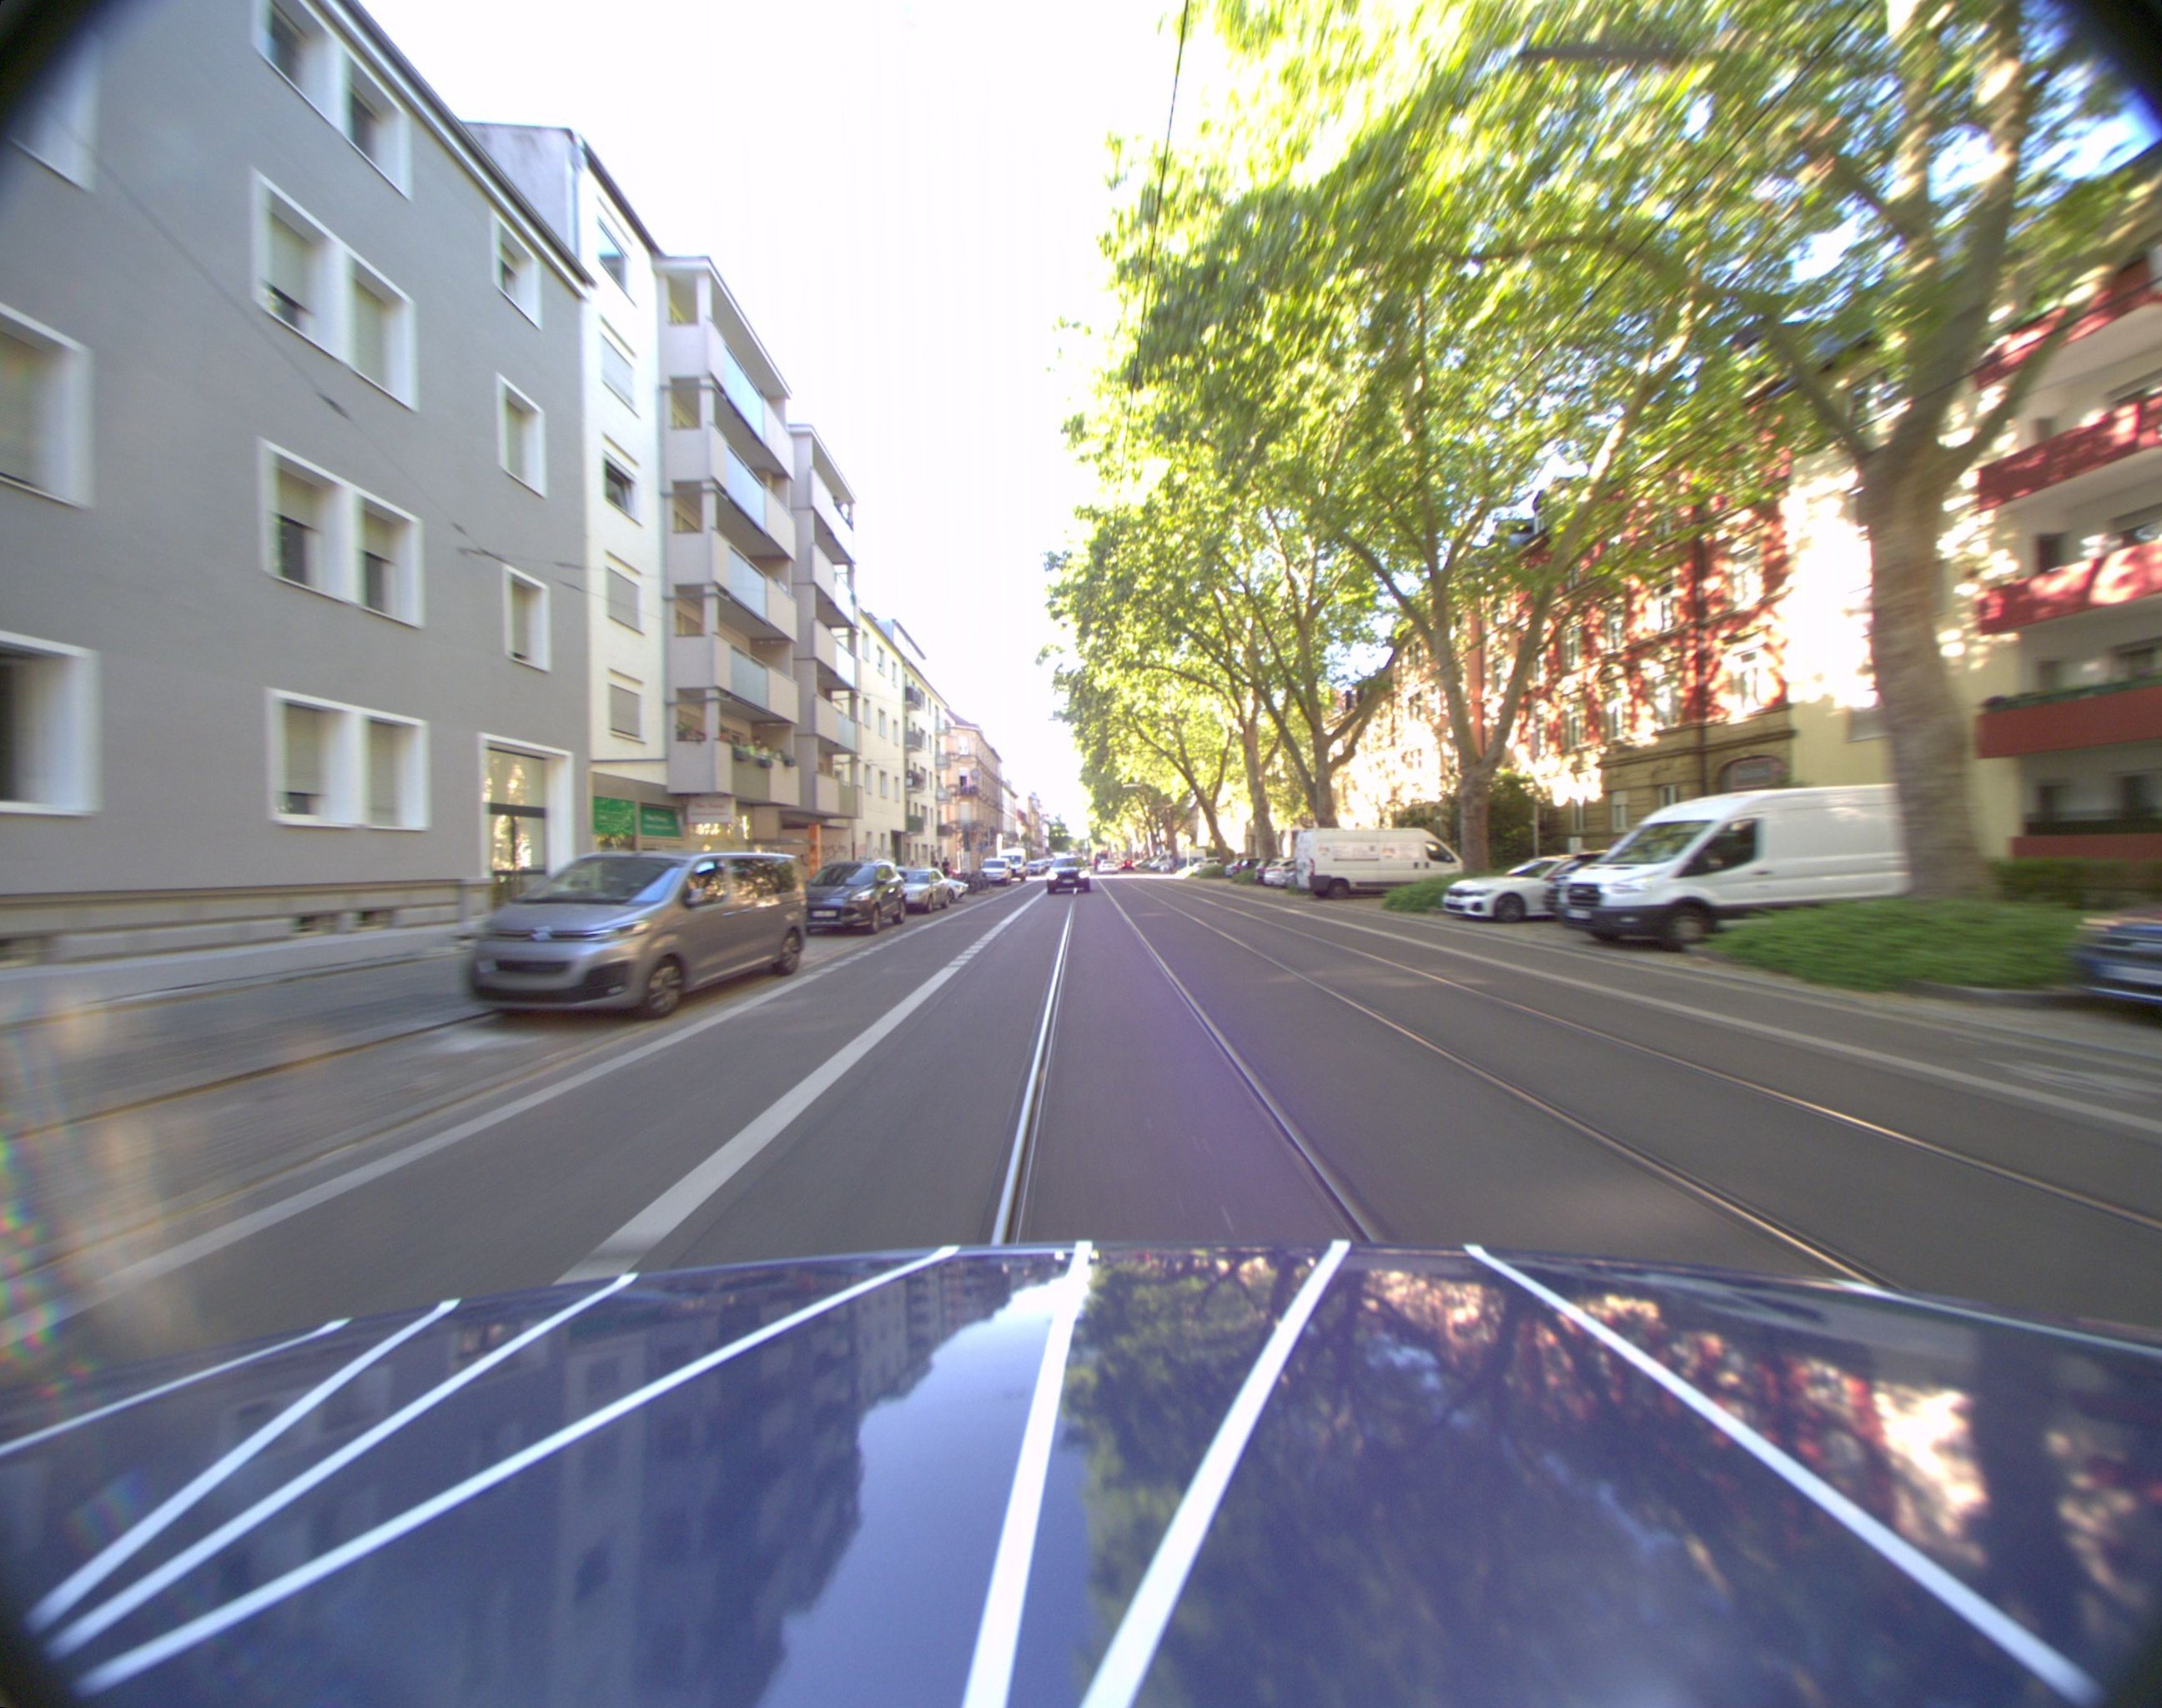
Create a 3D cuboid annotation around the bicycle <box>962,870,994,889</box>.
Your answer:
[{"bbox_3d":[-5.650,1.391,41.593,1.657,1.049,0.457,1,1,0],"label":"bicycle"}]

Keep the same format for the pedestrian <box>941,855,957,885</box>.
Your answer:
[{"bbox_3d":[-8.097,0.958,46.664,0.711,1.812,1.082,0,1,2],"label":"pedestrian"}]

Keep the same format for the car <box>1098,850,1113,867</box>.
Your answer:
[{"bbox_3d":[3.318,0.634,104.946,1.922,2.213,4.962,0,-2,0],"label":"car"}]

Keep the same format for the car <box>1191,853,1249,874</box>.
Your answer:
[{"bbox_3d":[10.523,0.712,57.612,3.997,1.452,1.879,-1,0,0],"label":"car"}]

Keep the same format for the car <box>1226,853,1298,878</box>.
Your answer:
[{"bbox_3d":[11.392,0.684,47.986,4.000,1.452,1.769,-1,0,-9],"label":"car"}]

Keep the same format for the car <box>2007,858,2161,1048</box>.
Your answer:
[{"bbox_3d":[10.558,0.752,6.048,4.029,1.457,1.872,-2,0,1],"label":"car"}]

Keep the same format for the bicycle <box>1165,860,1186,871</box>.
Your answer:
[{"bbox_3d":[9.049,1.099,72.857,1.877,1.025,0.628,-1,0,-10],"label":"bicycle"}]

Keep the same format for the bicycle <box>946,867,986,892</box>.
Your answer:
[{"bbox_3d":[-5.682,1.260,37.607,1.897,1.184,0.457,1,1,0],"label":"bicycle"}]

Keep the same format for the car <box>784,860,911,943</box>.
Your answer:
[{"bbox_3d":[-5.452,1.026,18.329,1.771,1.695,4.282,-1,0,-1],"label":"car"}]

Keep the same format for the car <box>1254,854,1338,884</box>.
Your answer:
[{"bbox_3d":[10.918,0.743,38.756,3.802,1.452,1.704,-1,0,1],"label":"car"}]

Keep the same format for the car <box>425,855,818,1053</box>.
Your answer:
[{"bbox_3d":[-5.326,0.979,9.847,1.863,1.879,4.925,-1,0,3],"label":"car"}]

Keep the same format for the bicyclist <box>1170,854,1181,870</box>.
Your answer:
[{"bbox_3d":[9.060,0.780,72.865,0.869,1.517,0.736,-1,0,-11],"label":"bicyclist"}]

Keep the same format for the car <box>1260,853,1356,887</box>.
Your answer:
[{"bbox_3d":[10.791,0.756,36.289,3.997,1.487,1.830,-1,0,1],"label":"car"}]

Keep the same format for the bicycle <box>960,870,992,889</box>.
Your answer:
[{"bbox_3d":[-5.686,1.361,41.065,1.657,0.981,0.457,1,1,0],"label":"bicycle"}]

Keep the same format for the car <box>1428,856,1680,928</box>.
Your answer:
[{"bbox_3d":[10.453,0.807,17.049,4.421,1.376,1.933,-2,0,0],"label":"car"}]

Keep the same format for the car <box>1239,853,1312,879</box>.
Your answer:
[{"bbox_3d":[11.598,0.708,45.492,3.996,1.452,1.704,-1,0,2],"label":"car"}]

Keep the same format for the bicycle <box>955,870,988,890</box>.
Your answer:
[{"bbox_3d":[-5.633,1.334,39.070,1.657,1.015,0.457,1,1,0],"label":"bicycle"}]

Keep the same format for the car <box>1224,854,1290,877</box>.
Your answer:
[{"bbox_3d":[11.735,0.747,50.736,3.999,1.361,1.604,-1,0,-5],"label":"car"}]

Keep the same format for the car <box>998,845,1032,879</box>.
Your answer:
[{"bbox_3d":[-5.186,0.588,60.474,2.154,2.481,6.088,-2,0,0],"label":"car"}]

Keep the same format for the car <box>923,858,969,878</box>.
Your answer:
[{"bbox_3d":[-12.078,1.273,68.151,3.659,1.565,1.790,-3,1,2],"label":"car"}]

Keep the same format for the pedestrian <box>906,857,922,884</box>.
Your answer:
[{"bbox_3d":[-10.250,0.994,46.569,0.633,1.571,0.933,4,1,2],"label":"pedestrian"}]

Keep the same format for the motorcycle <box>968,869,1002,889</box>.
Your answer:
[{"bbox_3d":[-5.363,1.413,42.428,1.820,1.074,0.618,0,1,24],"label":"motorcycle"}]

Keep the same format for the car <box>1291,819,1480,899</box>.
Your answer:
[{"bbox_3d":[10.656,0.169,26.892,5.755,2.521,2.162,-2,0,1],"label":"car"}]

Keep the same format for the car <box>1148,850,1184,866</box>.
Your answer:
[{"bbox_3d":[11.494,0.483,103.166,4.637,1.896,1.923,-3,0,4],"label":"car"}]

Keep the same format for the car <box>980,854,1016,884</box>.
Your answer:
[{"bbox_3d":[-5.428,0.959,50.307,1.863,1.810,4.350,2,1,0],"label":"car"}]

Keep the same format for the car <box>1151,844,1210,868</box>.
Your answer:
[{"bbox_3d":[11.577,0.238,88.740,6.618,2.393,2.000,-3,0,1],"label":"car"}]

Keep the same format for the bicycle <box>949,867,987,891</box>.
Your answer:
[{"bbox_3d":[-5.680,1.256,38.087,1.828,1.184,0.457,1,1,0],"label":"bicycle"}]

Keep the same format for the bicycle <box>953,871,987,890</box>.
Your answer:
[{"bbox_3d":[-5.627,1.338,38.578,1.657,0.960,0.457,1,1,0],"label":"bicycle"}]

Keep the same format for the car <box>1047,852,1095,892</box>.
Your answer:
[{"bbox_3d":[-0.399,0.859,36.199,1.949,1.694,4.631,-2,-1,2],"label":"car"}]

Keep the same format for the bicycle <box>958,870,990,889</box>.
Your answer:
[{"bbox_3d":[-5.690,1.350,40.368,1.657,0.981,0.457,1,1,0],"label":"bicycle"}]

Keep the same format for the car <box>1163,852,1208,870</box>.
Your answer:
[{"bbox_3d":[10.896,0.737,79.509,4.331,1.702,1.816,-1,0,-3],"label":"car"}]

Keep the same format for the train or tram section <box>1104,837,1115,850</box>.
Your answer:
[{"bbox_3d":[8.454,-3.062,228.483,2.944,3.598,11.258,-3,1,2],"label":"train or tram section"}]

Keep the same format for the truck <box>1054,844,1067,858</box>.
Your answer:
[{"bbox_3d":[-4.924,-0.769,184.807,2.842,3.145,7.291,-3,1,0],"label":"truck"}]

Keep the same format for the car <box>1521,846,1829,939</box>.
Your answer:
[{"bbox_3d":[11.122,0.680,14.470,4.382,1.530,1.872,-2,0,0],"label":"car"}]

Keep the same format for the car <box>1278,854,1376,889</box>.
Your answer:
[{"bbox_3d":[10.857,0.760,33.754,3.817,1.424,1.704,-2,0,2],"label":"car"}]

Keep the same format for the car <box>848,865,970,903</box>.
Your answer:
[{"bbox_3d":[-6.800,1.177,30.388,4.629,1.429,1.863,0,0,-11],"label":"car"}]

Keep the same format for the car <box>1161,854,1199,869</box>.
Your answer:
[{"bbox_3d":[10.638,0.785,81.656,3.779,1.509,1.747,-1,0,-3],"label":"car"}]

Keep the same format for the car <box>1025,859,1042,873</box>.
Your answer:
[{"bbox_3d":[-5.022,1.247,81.134,1.653,1.412,4.059,0,0,-1],"label":"car"}]

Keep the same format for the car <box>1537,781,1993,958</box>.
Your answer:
[{"bbox_3d":[10.581,0.227,12.099,5.373,2.463,2.057,-1,0,1],"label":"car"}]

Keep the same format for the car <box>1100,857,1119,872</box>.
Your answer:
[{"bbox_3d":[2.800,1.022,75.476,1.722,1.351,4.470,-1,0,1],"label":"car"}]

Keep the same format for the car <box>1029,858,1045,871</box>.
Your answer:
[{"bbox_3d":[-5.029,1.144,87.419,1.606,1.412,4.013,0,0,0],"label":"car"}]

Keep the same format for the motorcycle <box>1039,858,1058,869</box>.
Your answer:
[{"bbox_3d":[-3.858,1.114,91.383,2.143,1.281,0.642,-2,1,-21],"label":"motorcycle"}]

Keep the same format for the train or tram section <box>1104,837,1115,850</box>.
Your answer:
[{"bbox_3d":[8.141,-2.941,217.330,2.944,3.598,11.062,-3,1,2],"label":"train or tram section"}]

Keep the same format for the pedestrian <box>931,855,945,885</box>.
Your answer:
[{"bbox_3d":[-8.793,0.997,46.684,0.626,1.812,1.082,0,1,2],"label":"pedestrian"}]

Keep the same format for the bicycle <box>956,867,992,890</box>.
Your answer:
[{"bbox_3d":[-5.590,1.287,39.689,1.798,1.141,0.704,1,1,0],"label":"bicycle"}]

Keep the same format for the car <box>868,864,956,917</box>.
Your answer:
[{"bbox_3d":[-5.460,1.129,25.171,1.728,1.516,4.513,-1,0,2],"label":"car"}]
